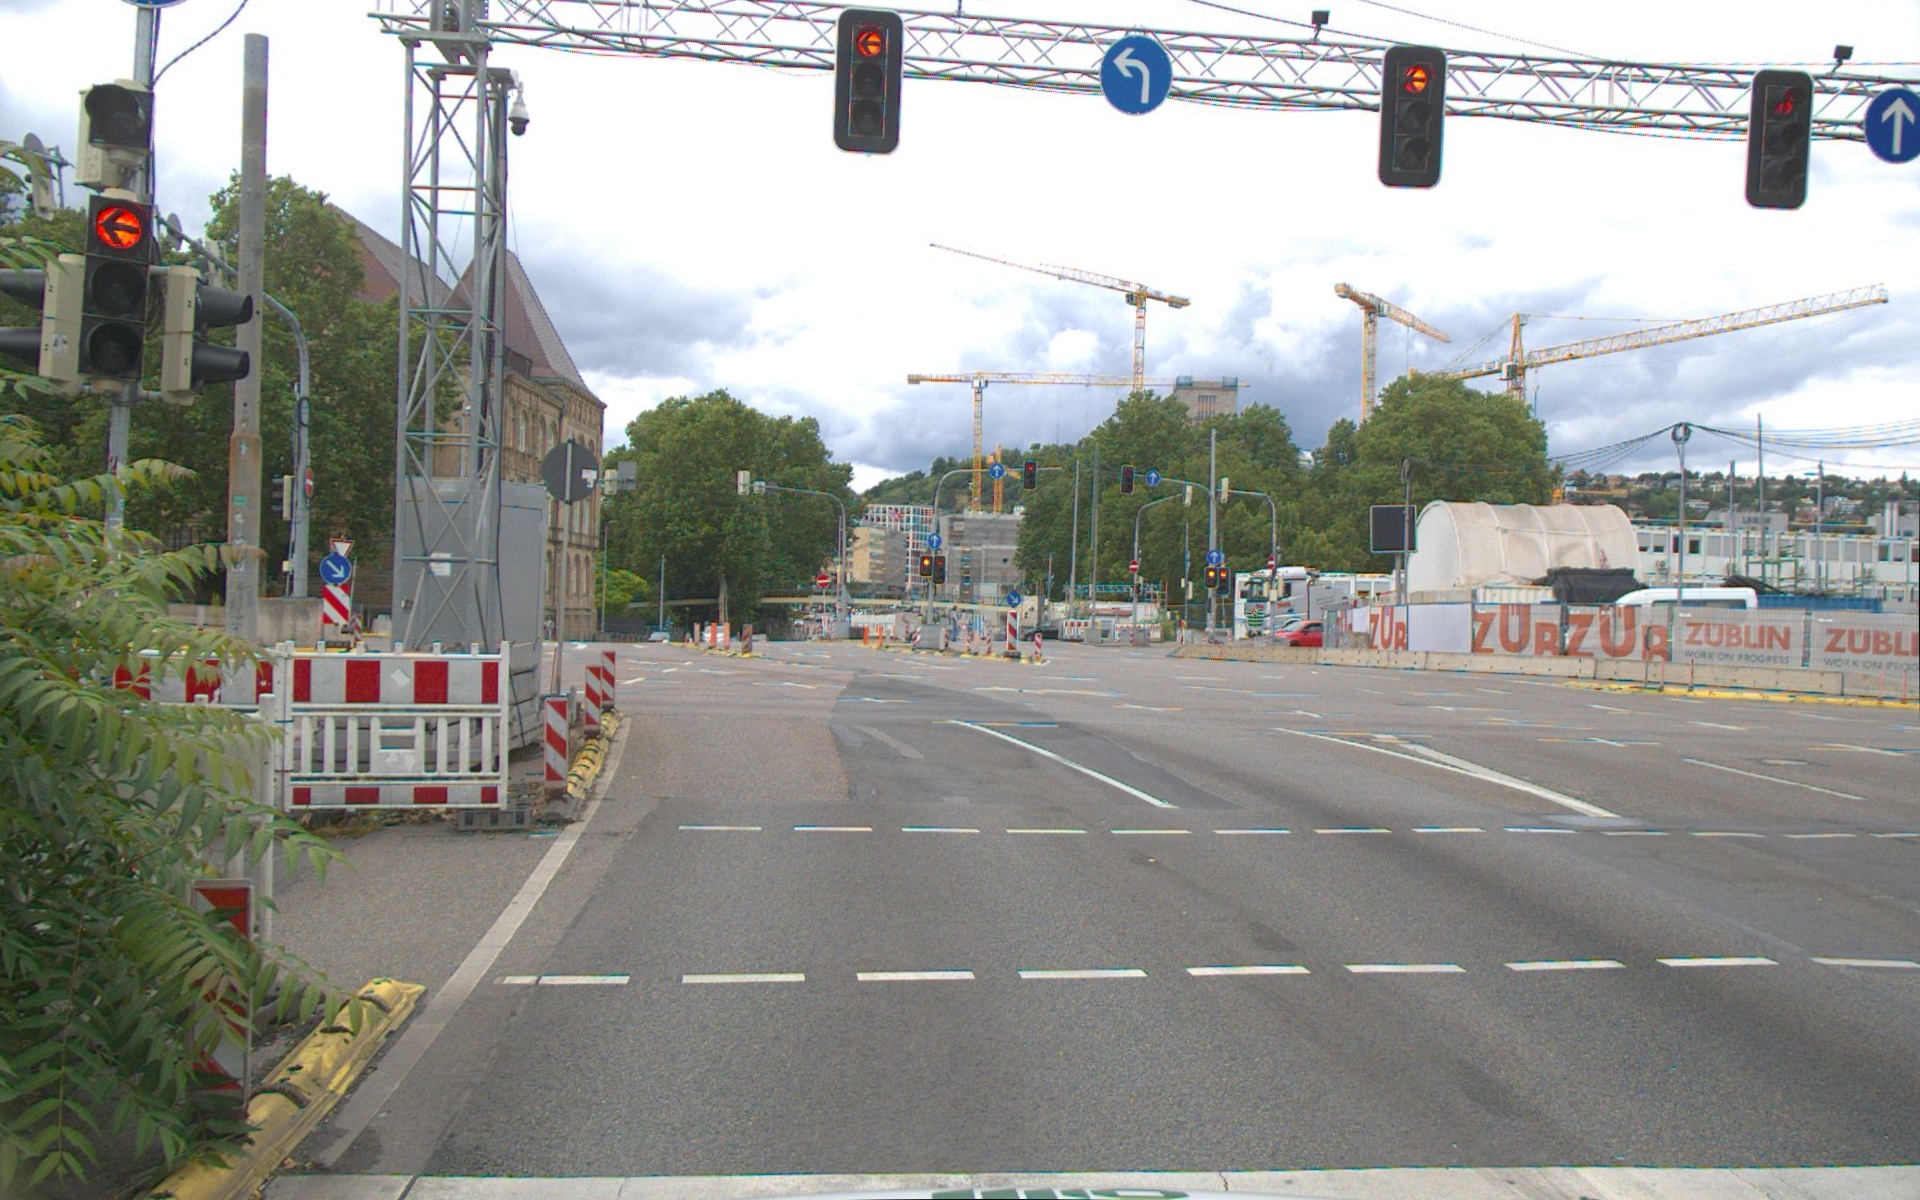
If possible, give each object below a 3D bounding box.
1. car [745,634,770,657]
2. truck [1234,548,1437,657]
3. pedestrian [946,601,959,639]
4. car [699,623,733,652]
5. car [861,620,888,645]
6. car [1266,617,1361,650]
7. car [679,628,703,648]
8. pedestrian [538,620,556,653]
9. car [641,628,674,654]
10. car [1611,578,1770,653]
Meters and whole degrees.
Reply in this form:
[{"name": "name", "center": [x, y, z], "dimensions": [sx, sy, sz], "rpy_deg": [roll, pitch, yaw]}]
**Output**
[{"name": "car", "center": [-18.264, 4.101, 149.556], "dimensions": [1.954, 1.870, 3.997], "rpy_deg": [1, 0, -3]}, {"name": "truck", "center": [18.374, 0.180, 80.782], "dimensions": [9.576, 5.047, 3.094], "rpy_deg": [1, -1, -22]}, {"name": "pedestrian", "center": [-0.386, 0.980, 81.759], "dimensions": [0.574, 1.872, 0.604], "rpy_deg": [1, -1, -4]}, {"name": "car", "center": [-16.511, 2.548, 112.059], "dimensions": [1.954, 1.870, 3.997], "rpy_deg": [1, 0, -3]}, {"name": "car", "center": [-7.084, 2.673, 136.850], "dimensions": [1.956, 2.049, 3.993], "rpy_deg": [1, 0, -7]}, {"name": "car", "center": [15.554, 1.469, 72.784], "dimensions": [3.755, 1.410, 1.792], "rpy_deg": [1, 0, -23]}, {"name": "car", "center": [-27.273, 3.862, 167.655], "dimensions": [1.954, 1.870, 3.997], "rpy_deg": [1, 0, -3]}, {"name": "pedestrian", "center": [-26.318, 2.318, 105.384], "dimensions": [0.930, 2.049, 0.766], "rpy_deg": [1, -1, 1]}, {"name": "car", "center": [-22.889, 3.076, 125.204], "dimensions": [1.954, 1.870, 3.997], "rpy_deg": [1, 0, -3]}, {"name": "car", "center": [21.056, 0.446, 47.817], "dimensions": [3.902, 2.049, 2.001], "rpy_deg": [1, 0, 15]}]
